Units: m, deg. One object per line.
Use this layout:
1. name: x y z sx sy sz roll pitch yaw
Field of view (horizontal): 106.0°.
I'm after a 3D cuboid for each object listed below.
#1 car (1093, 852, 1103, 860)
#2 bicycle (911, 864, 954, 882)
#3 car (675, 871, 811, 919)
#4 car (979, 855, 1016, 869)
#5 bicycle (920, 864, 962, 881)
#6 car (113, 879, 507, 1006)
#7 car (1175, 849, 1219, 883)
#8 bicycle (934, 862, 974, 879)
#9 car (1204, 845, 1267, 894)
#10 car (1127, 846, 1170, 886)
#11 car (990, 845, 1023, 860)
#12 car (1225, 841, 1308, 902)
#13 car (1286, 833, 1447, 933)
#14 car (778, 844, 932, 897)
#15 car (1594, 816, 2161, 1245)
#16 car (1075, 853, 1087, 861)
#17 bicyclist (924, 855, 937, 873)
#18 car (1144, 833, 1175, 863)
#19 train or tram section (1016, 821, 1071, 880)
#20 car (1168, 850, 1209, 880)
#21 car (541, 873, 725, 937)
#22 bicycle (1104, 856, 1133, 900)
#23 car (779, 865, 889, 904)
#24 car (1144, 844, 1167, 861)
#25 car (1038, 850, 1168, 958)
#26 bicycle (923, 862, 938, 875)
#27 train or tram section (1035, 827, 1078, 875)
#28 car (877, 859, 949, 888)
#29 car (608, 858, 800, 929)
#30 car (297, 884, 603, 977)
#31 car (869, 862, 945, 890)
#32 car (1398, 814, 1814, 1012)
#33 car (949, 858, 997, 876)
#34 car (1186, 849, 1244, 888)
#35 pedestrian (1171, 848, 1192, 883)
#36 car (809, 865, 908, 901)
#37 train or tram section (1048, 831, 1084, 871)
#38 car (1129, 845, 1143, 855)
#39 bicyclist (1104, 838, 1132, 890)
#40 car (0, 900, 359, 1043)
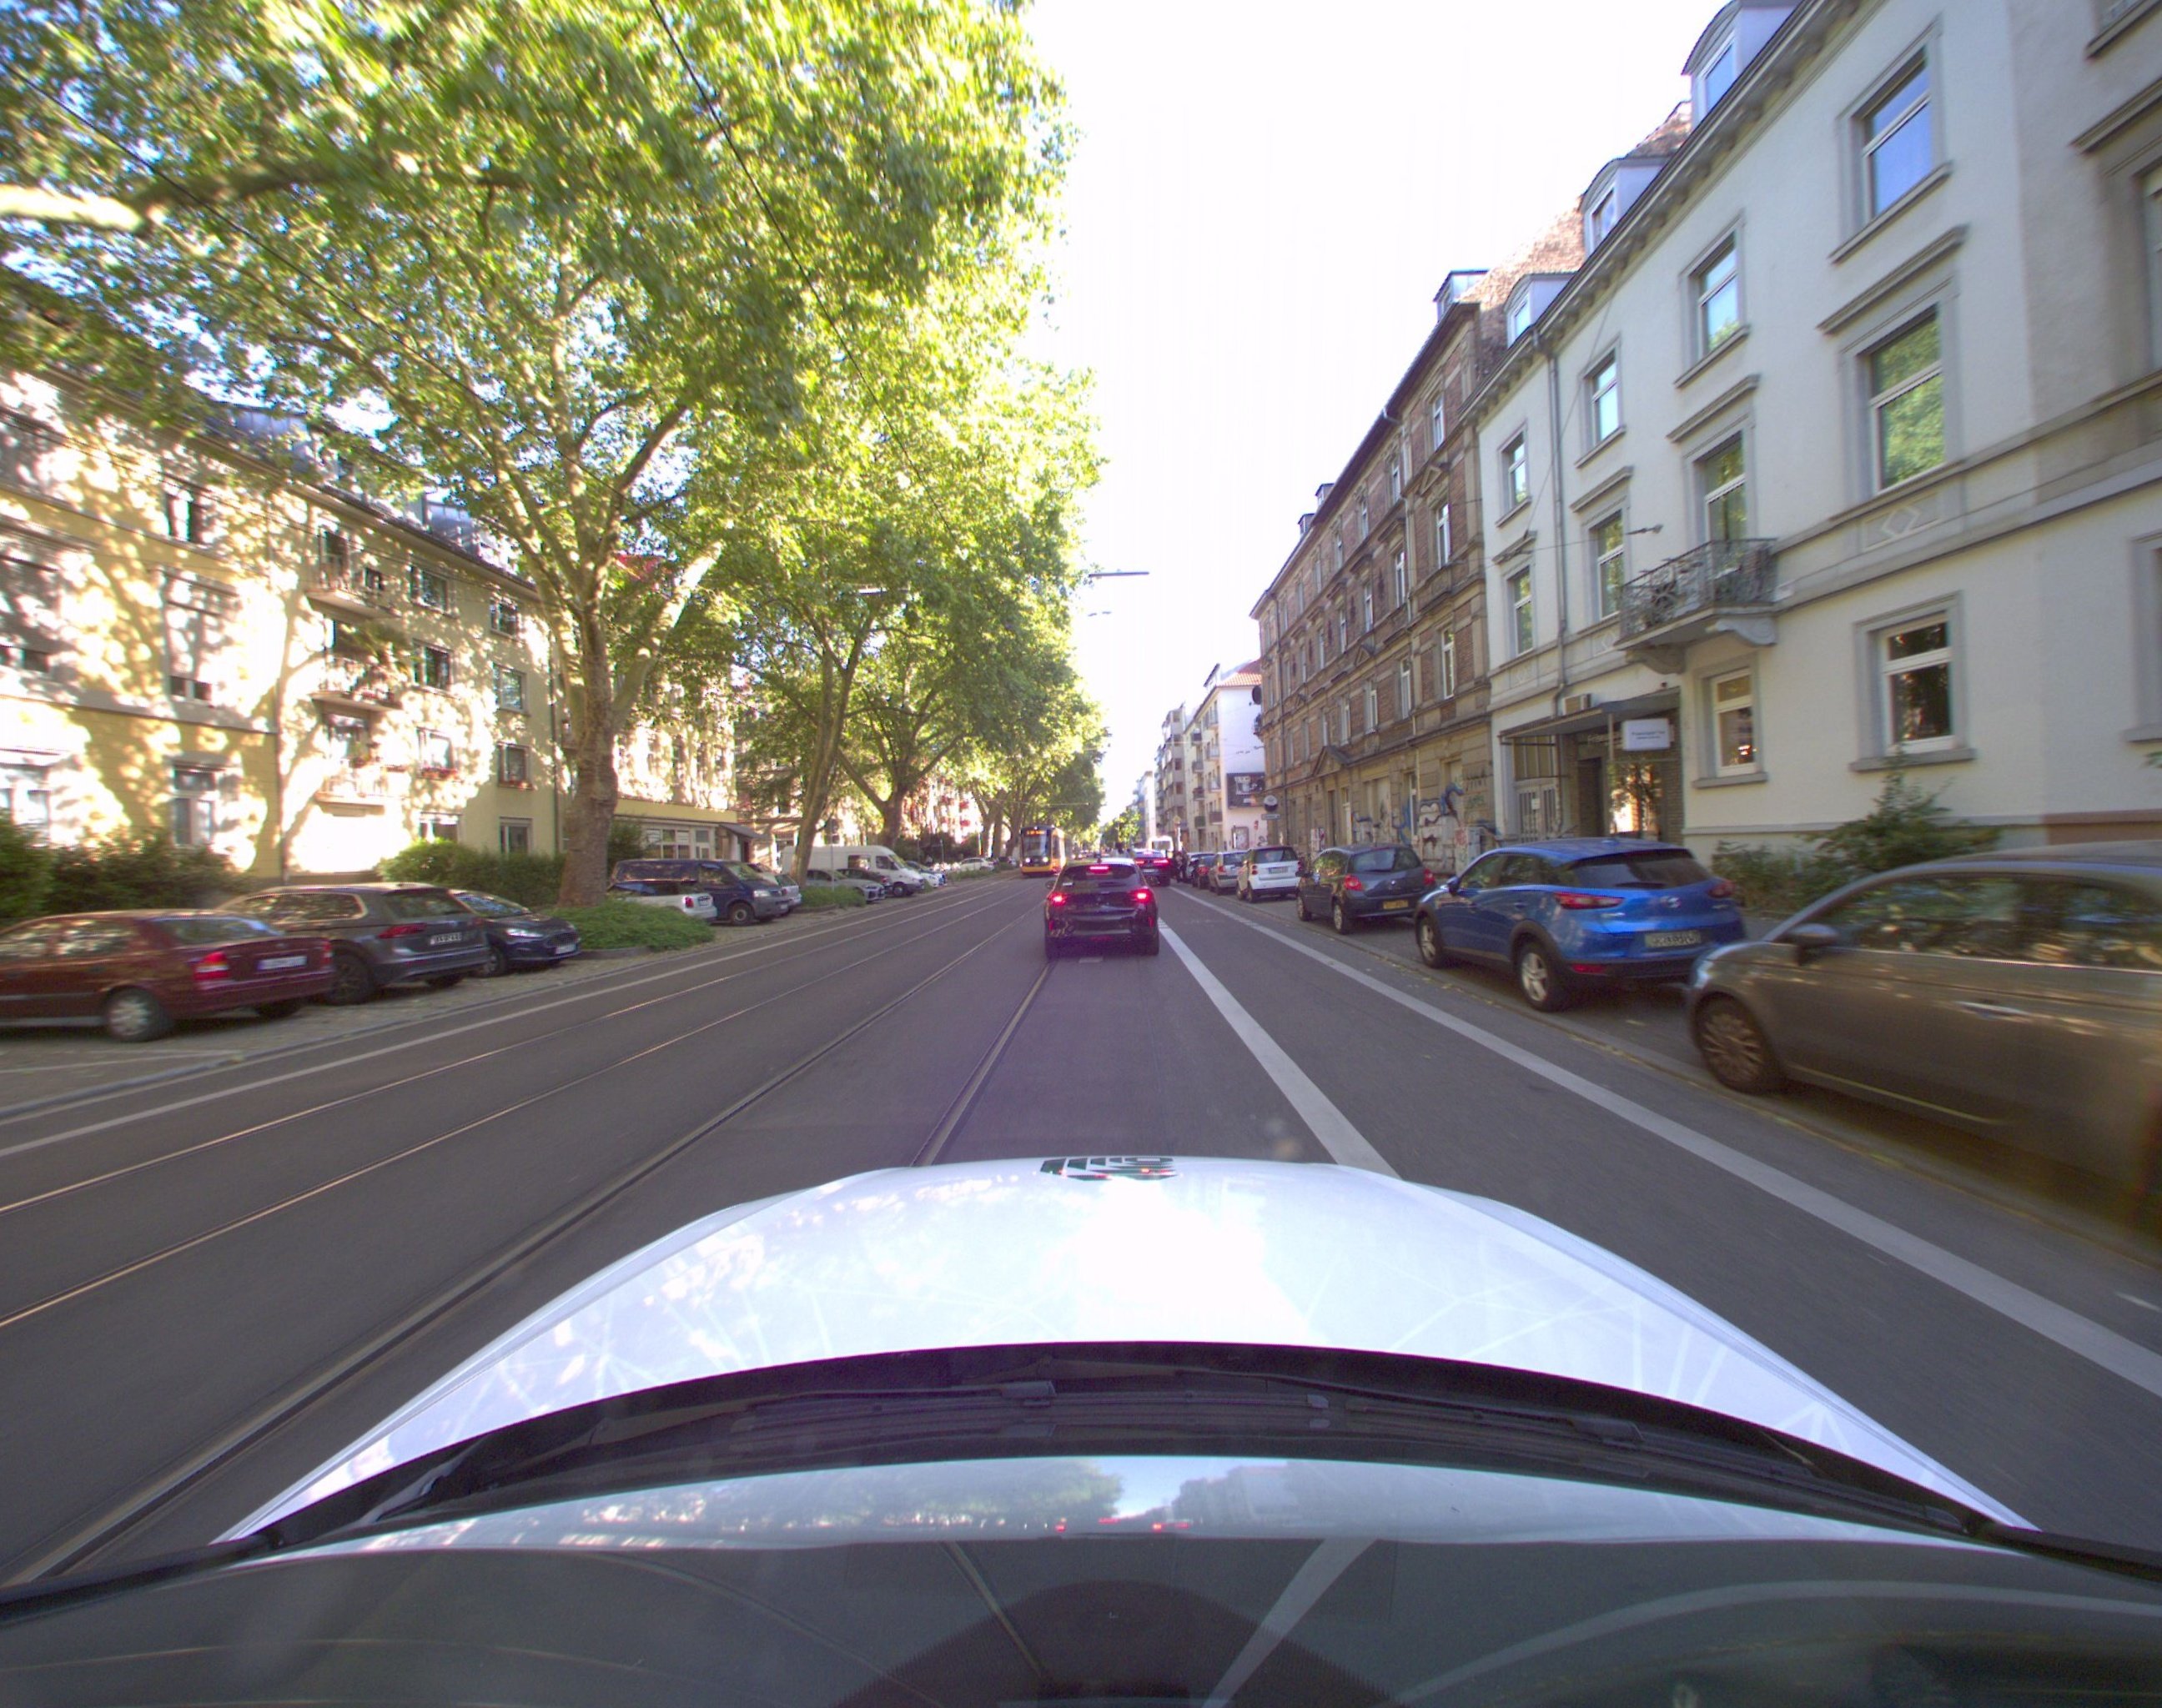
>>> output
1. car: 3.230 0.396 155.898 1.803 1.338 3.935 -2 0 2
2. bicycle: -10.937 1.398 59.952 2.919 1.169 0.995 -2 0 18
3. car: -10.922 1.307 26.468 3.721 1.430 1.638 -1 0 1
4. car: -9.321 0.892 90.945 3.909 1.498 1.676 -1 0 -2
5. bicycle: -10.518 1.414 61.229 2.919 1.169 0.995 -2 0 18
6. car: -11.074 1.222 11.932 3.980 1.627 1.880 -1 0 1
7. car: 5.645 0.565 40.081 1.655 1.419 3.935 -6 0 3
8. bicycle: -9.883 1.287 63.430 2.919 1.169 0.995 -2 0 18
9. car: 5.392 0.519 28.881 1.697 1.456 3.702 -6 0 5
10. car: 3.084 0.512 37.781 1.802 1.742 3.935 0 0 3
11. car: -9.144 -0.185 100.260 3.909 1.790 1.676 -1 0 -2
12. car: 5.347 0.491 23.827 1.563 1.517 3.039 -5 0 -1
13. car: 5.146 0.482 15.215 1.704 1.483 3.766 -6 0 3
14. car: -10.667 0.773 38.867 6.604 2.409 2.458 -1 0 1
15. car: 4.767 0.616 4.192 1.793 1.456 3.768 -6 0 0
16. car: -0.018 0.555 142.205 1.802 1.338 3.935 -2 0 3
17. bicyclist: -15.294 0.992 82.812 0.984 1.756 1.154 -2 0 -1
18. car: 6.358 -0.472 66.481 2.067 2.219 4.936 -5 0 3
19. train or tram section: -2.501 -0.243 58.915 2.724 3.681 12.724 -3 0 2
20. car: 5.856 0.572 44.646 1.803 1.379 3.935 -6 0 3
21. car: -11.374 1.268 20.842 3.721 1.498 1.747 -1 0 1
22. bicycle: 1.266 0.793 27.920 0.858 1.407 2.524 -2 0 0
23. car: -10.004 1.212 33.166 3.904 1.498 1.678 -1 0 2
24. car: 6.871 -0.119 75.465 1.803 1.338 3.935 -6 0 3
25. car: 0.347 0.696 13.217 1.787 1.441 3.532 -2 1 1
26. bicycle: -15.282 1.460 82.812 0.984 1.169 2.951 -2 0 0
27. train or tram section: -1.969 -0.240 71.639 2.724 3.681 12.724 -3 0 2
28. car: -9.857 1.134 47.978 3.909 1.577 1.676 -1 0 -2
29. car: -10.910 1.114 23.778 4.656 1.924 1.981 -1 0 2
30. car: -10.916 1.295 14.308 3.908 1.421 1.818 -1 0 -1
31. car: -9.675 1.195 45.485 3.909 1.498 1.676 -1 0 -2
32. car: 5.095 0.487 8.712 1.873 1.456 4.028 -6 0 3
33. car: -9.255 1.076 69.851 3.909 1.498 1.676 -1 0 -2
34. car: 5.439 0.552 33.592 1.803 1.338 3.935 -6 0 3
35. pedestrian: 4.537 0.524 36.839 0.861 1.567 0.770 -2 0 10
36. car: -9.863 1.258 36.261 3.909 1.498 1.676 -1 0 -2
37. train or tram section: -1.393 -0.285 84.374 2.724 3.681 12.724 -3 0 2
38. car: 7.837 -0.578 116.904 1.803 1.338 3.935 -6 0 3
39. bicyclist: 1.259 0.329 27.920 0.845 1.740 1.162 -2 0 0
40. car: -11.329 1.328 9.705 3.905 1.442 1.749 -1 0 1
